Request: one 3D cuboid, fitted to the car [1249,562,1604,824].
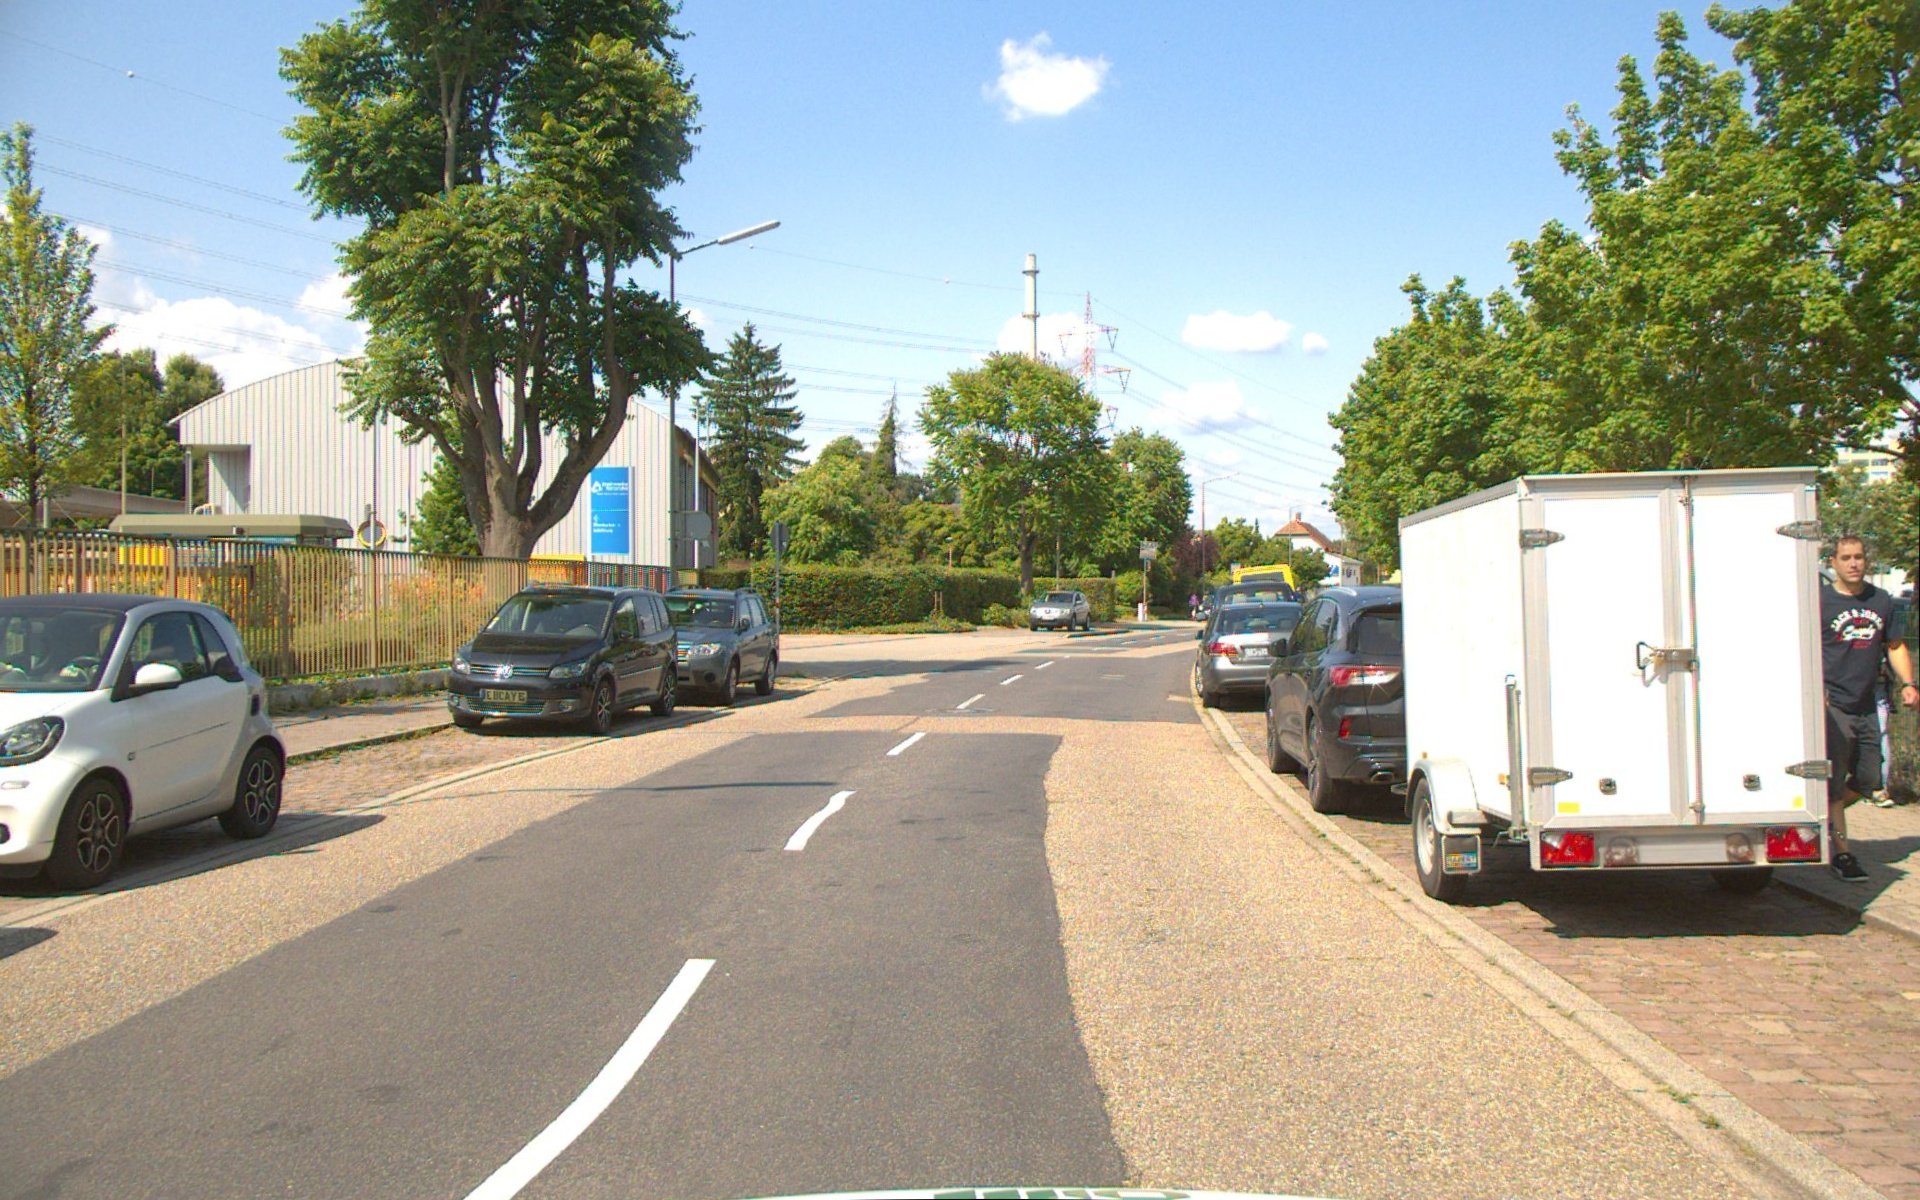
[{"bbox_3d":[3.577,0.635,13.600,1.822,1.712,4.712,-2,0,4],"label":"car"}]

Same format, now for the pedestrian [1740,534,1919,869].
[{"bbox_3d":[4.653,0.512,8.738,0.712,1.675,0.580,-3,1,1],"label":"pedestrian"}]

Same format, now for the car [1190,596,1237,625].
[{"bbox_3d":[14.447,0.587,94.245,1.807,1.534,4.000,3,1,20],"label":"car"}]

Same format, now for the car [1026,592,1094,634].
[{"bbox_3d":[4.053,0.509,66.249,1.720,1.601,4.479,1,0,17],"label":"car"}]

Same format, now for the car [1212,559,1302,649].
[{"bbox_3d":[9.094,0.130,50.158,2.111,2.508,6.644,-2,-1,15],"label":"car"}]

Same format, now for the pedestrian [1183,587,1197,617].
[{"bbox_3d":[13.917,0.133,100.059,0.693,1.832,0.916,0,-1,21],"label":"pedestrian"}]

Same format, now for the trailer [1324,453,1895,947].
[{"bbox_3d":[3.305,0.445,9.303,1.709,2.103,3.948,-3,0,2],"label":"trailer"}]

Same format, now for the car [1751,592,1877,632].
[{"bbox_3d":[30.616,0.414,59.437,3.924,1.420,1.843,0,0,24],"label":"car"}]

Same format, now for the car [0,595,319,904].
[{"bbox_3d":[-5.271,0.746,9.870,1.575,1.549,3.075,0,0,2],"label":"car"}]

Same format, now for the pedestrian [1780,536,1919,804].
[{"bbox_3d":[6.061,0.451,11.105,0.706,1.723,0.740,-1,0,1],"label":"pedestrian"}]

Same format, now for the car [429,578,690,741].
[{"bbox_3d":[-4.697,0.642,20.051,1.738,1.712,4.233,1,0,5],"label":"car"}]

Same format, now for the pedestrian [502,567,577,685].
[{"bbox_3d":[-6.611,0.400,26.017,0.810,1.792,0.846,1,0,12],"label":"pedestrian"}]

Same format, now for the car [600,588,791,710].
[{"bbox_3d":[-3.973,0.687,25.702,1.761,1.679,4.693,1,0,6],"label":"car"}]

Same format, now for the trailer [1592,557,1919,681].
[{"bbox_3d":[14.072,0.334,29.387,4.939,2.119,2.063,0,0,7],"label":"trailer"}]

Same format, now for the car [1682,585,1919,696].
[{"bbox_3d":[13.613,0.612,25.900,3.902,1.665,1.695,0,0,6],"label":"car"}]

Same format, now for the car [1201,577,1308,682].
[{"bbox_3d":[5.646,0.536,32.110,1.810,1.796,5.081,-2,0,9],"label":"car"}]

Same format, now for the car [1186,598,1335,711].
[{"bbox_3d":[4.436,0.752,25.033,1.802,1.486,4.872,-2,0,6],"label":"car"}]

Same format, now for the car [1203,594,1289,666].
[{"bbox_3d":[6.596,0.660,38.462,1.793,1.518,4.660,-2,0,8],"label":"car"}]
